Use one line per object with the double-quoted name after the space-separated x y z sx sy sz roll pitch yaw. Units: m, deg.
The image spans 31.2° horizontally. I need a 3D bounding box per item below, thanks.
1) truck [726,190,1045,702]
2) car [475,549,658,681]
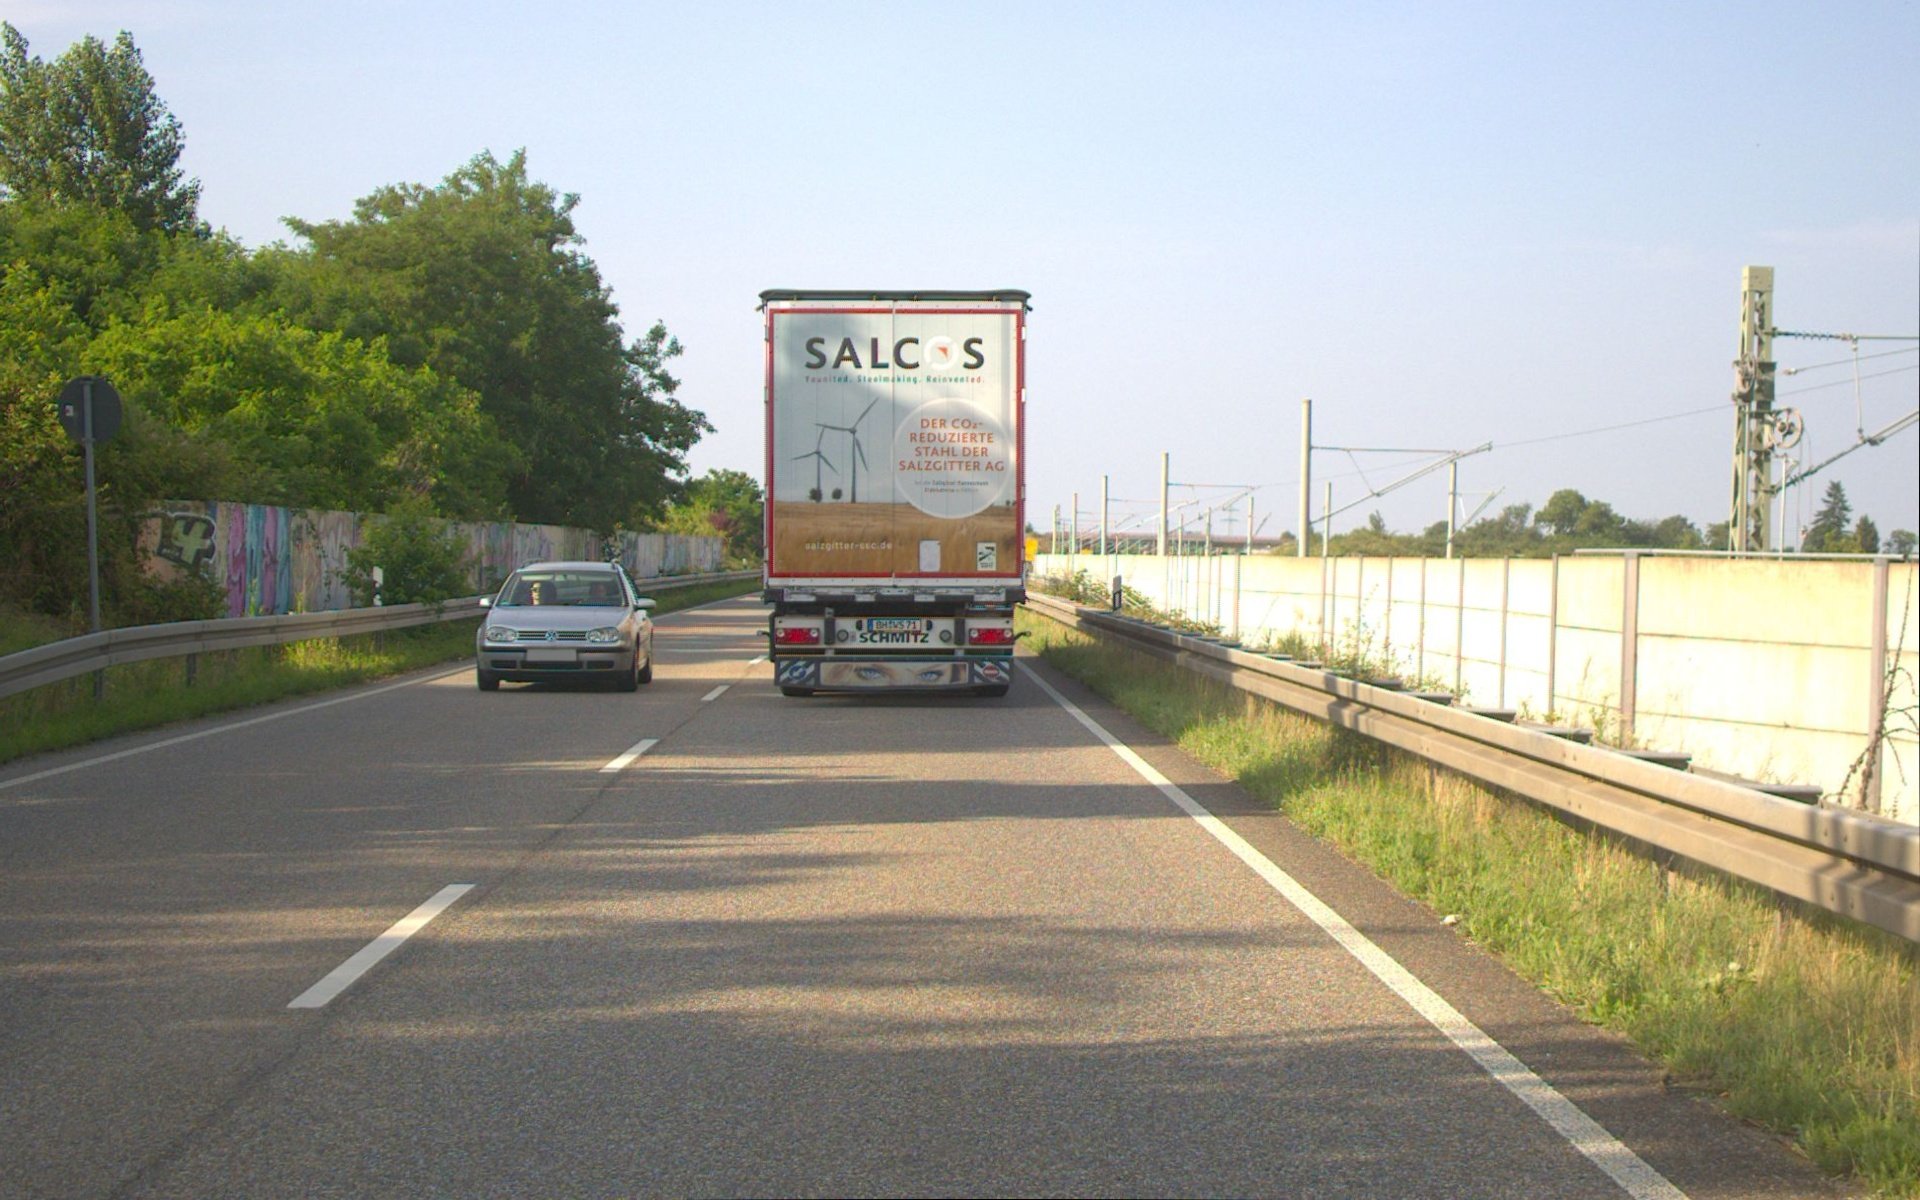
-0.962 -1.584 38.995 3.033 4.903 11.685 0 1 -2 "truck"
-4.384 0.144 38.832 1.719 1.389 4.361 1 0 -2 "car"
